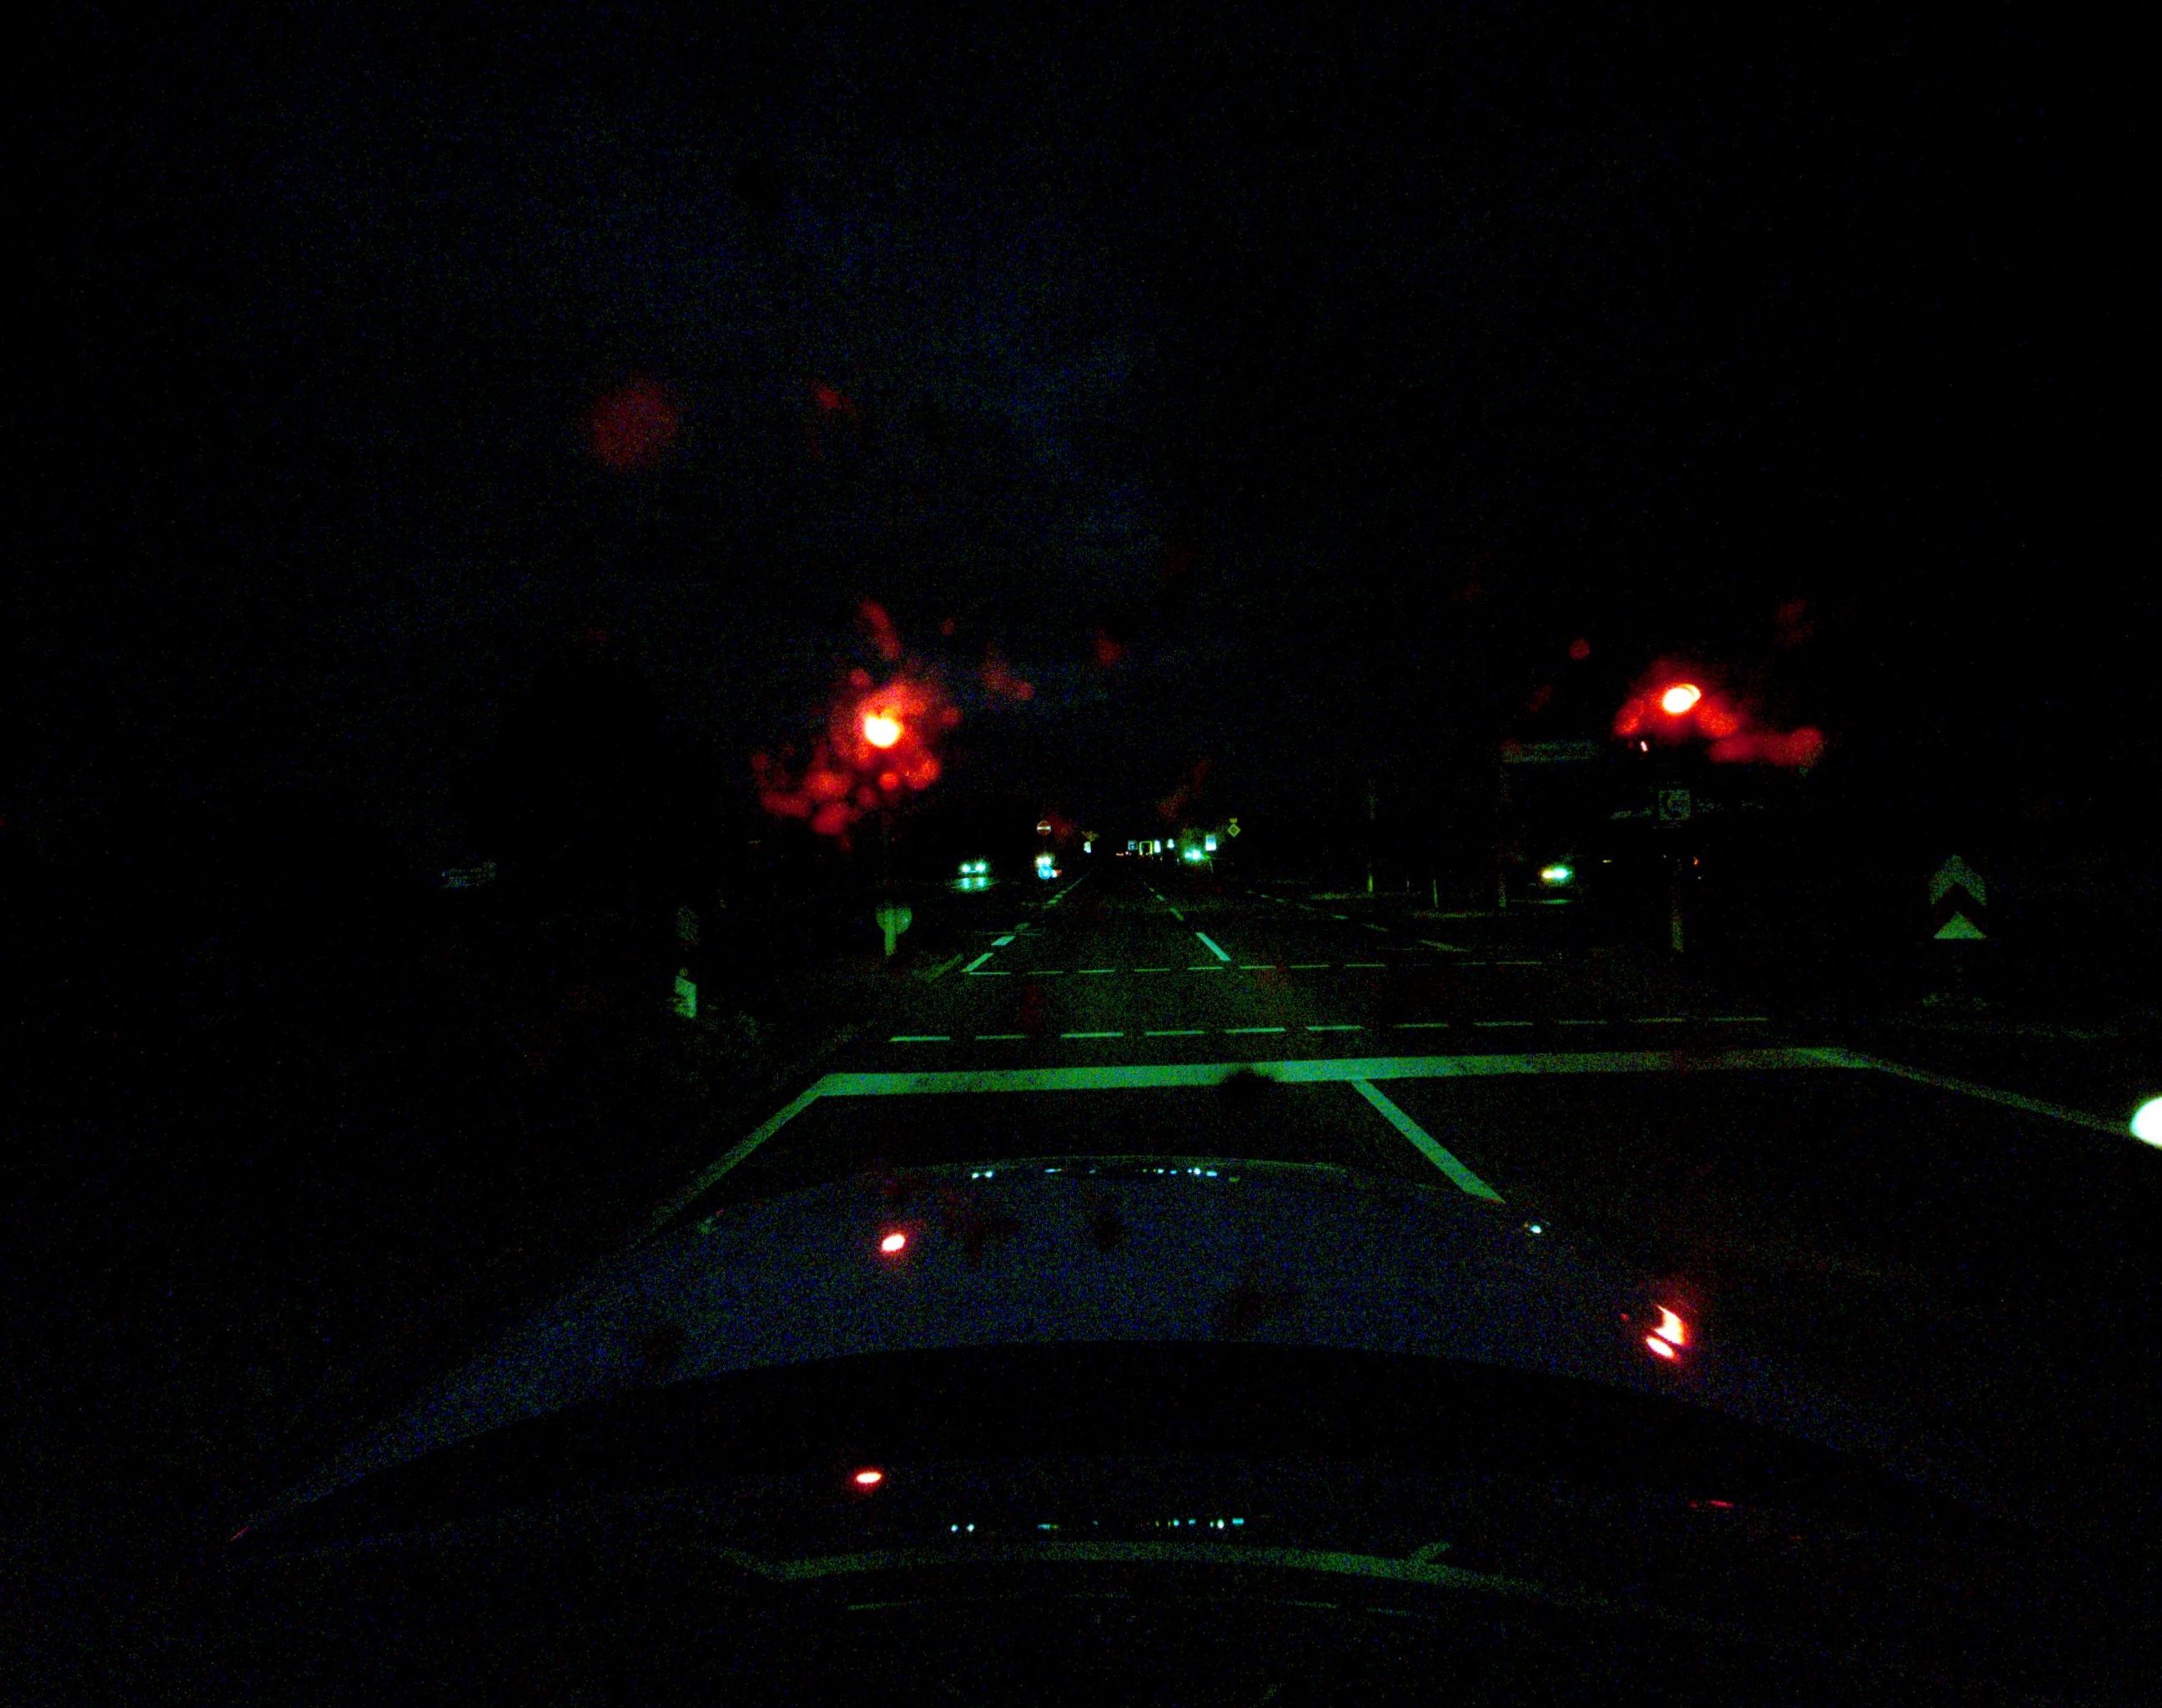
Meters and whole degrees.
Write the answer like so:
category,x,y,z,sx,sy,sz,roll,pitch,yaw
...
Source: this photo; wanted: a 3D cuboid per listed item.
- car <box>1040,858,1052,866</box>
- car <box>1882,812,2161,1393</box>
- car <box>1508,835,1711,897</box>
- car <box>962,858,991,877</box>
category,x,y,z,sx,sy,sz,roll,pitch,yaw
car,-6.575,1.429,152.276,1.986,1.387,4.002,-2,0,2
car,3.568,0.636,0.800,1.663,1.520,4.109,-1,0,3
car,15.329,0.328,23.845,4.583,1.520,2.001,-3,0,2
car,-9.542,1.217,74.637,1.986,1.519,4.299,-2,0,2
